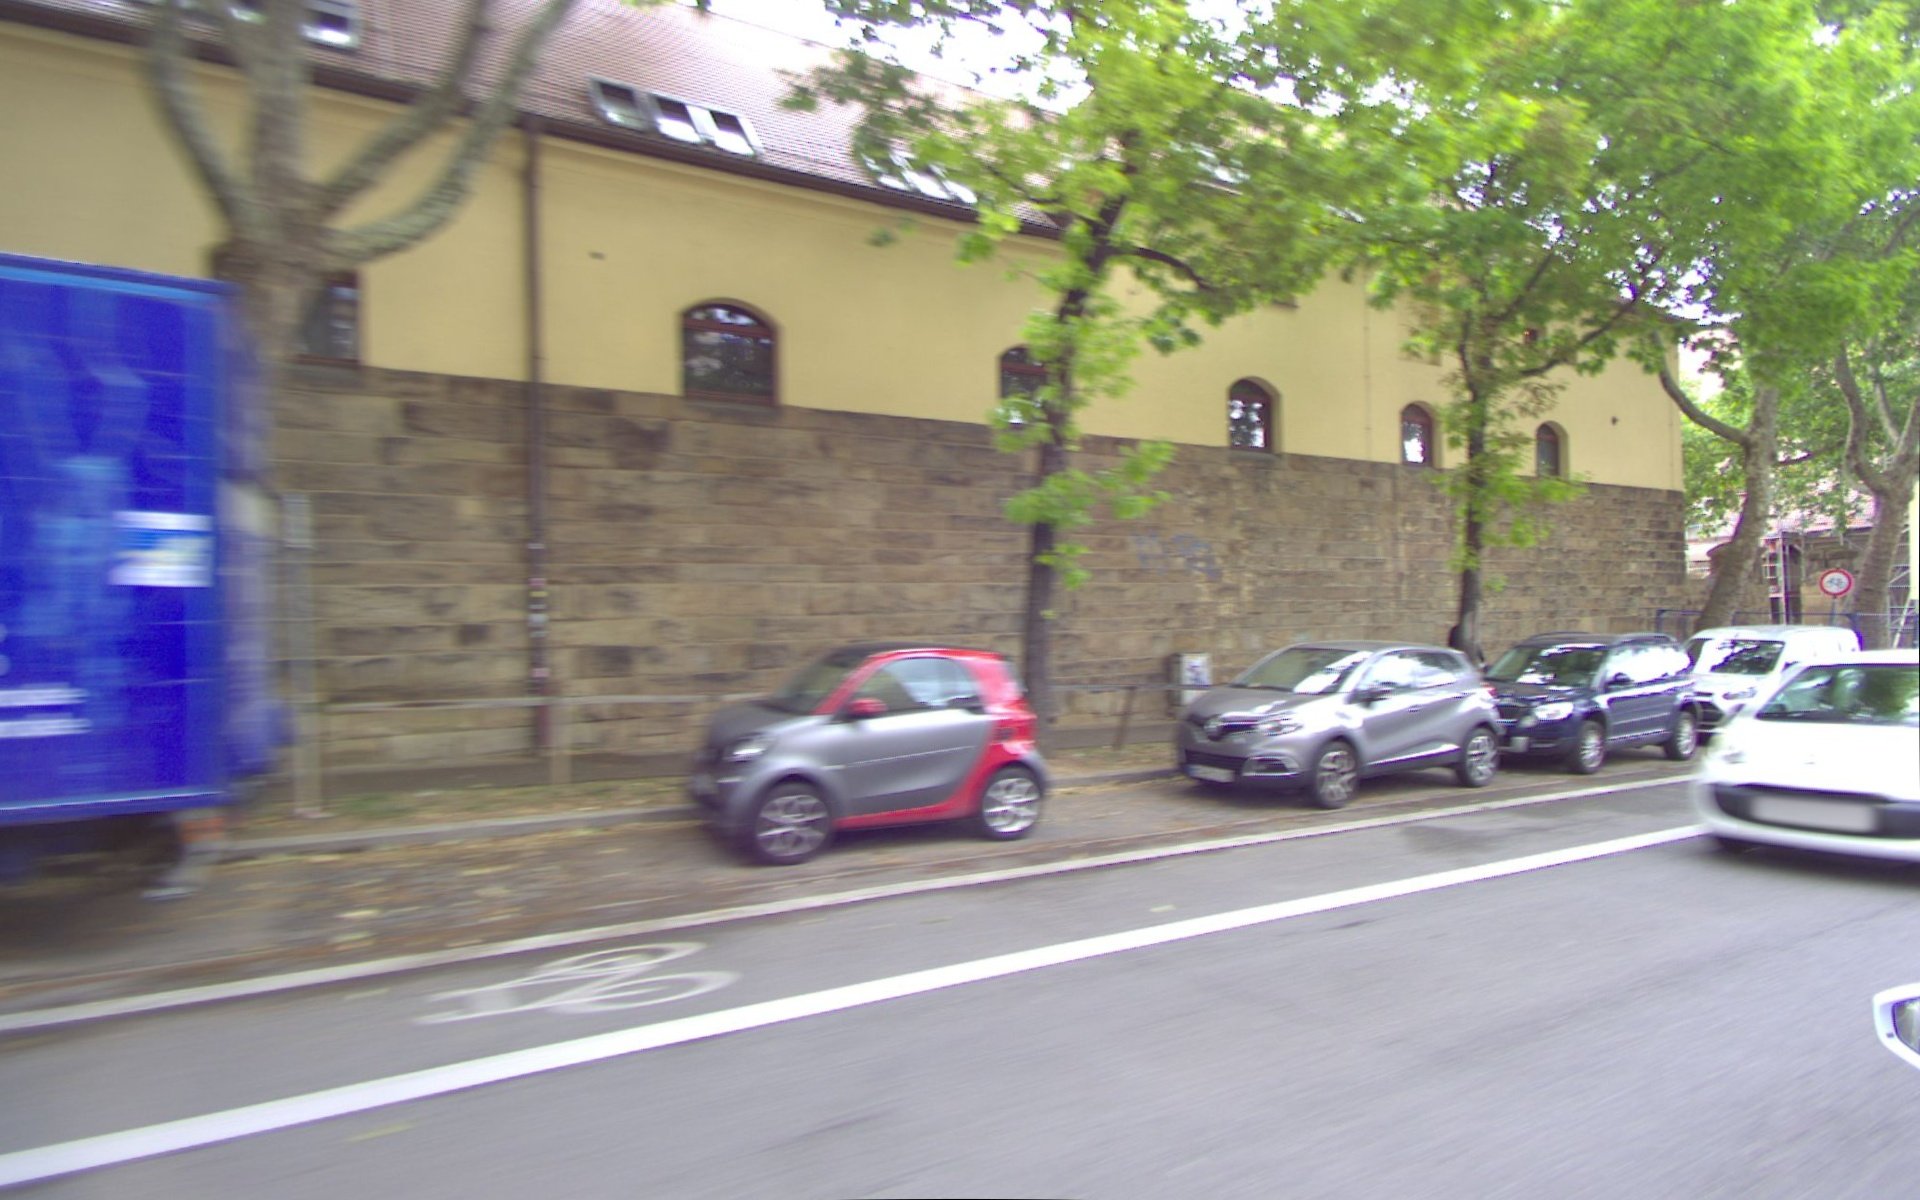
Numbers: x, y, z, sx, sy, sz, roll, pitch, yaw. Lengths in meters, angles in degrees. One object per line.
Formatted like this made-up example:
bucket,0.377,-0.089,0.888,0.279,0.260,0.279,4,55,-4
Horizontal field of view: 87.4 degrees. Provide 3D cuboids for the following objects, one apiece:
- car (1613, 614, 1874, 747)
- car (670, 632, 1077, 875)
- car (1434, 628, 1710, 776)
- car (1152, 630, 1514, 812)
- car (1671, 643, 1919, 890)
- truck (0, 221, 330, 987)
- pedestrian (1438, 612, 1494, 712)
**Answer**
car,12.743,1.224,16.291,4.364,1.901,1.826,1,-3,-30
car,-0.688,1.097,8.186,2.955,1.594,1.474,1,0,-29
car,8.156,1.255,13.277,4.072,1.653,1.499,2,-1,-33
car,4.115,1.175,10.859,4.044,1.594,1.584,2,-1,-34
car,7.061,1.075,7.408,3.609,1.483,1.576,1,-5,-30
truck,-6.942,-0.037,4.220,7.165,3.462,2.203,1,0,-32
pedestrian,9.481,1.144,18.817,0.734,1.823,0.589,2,0,-30
